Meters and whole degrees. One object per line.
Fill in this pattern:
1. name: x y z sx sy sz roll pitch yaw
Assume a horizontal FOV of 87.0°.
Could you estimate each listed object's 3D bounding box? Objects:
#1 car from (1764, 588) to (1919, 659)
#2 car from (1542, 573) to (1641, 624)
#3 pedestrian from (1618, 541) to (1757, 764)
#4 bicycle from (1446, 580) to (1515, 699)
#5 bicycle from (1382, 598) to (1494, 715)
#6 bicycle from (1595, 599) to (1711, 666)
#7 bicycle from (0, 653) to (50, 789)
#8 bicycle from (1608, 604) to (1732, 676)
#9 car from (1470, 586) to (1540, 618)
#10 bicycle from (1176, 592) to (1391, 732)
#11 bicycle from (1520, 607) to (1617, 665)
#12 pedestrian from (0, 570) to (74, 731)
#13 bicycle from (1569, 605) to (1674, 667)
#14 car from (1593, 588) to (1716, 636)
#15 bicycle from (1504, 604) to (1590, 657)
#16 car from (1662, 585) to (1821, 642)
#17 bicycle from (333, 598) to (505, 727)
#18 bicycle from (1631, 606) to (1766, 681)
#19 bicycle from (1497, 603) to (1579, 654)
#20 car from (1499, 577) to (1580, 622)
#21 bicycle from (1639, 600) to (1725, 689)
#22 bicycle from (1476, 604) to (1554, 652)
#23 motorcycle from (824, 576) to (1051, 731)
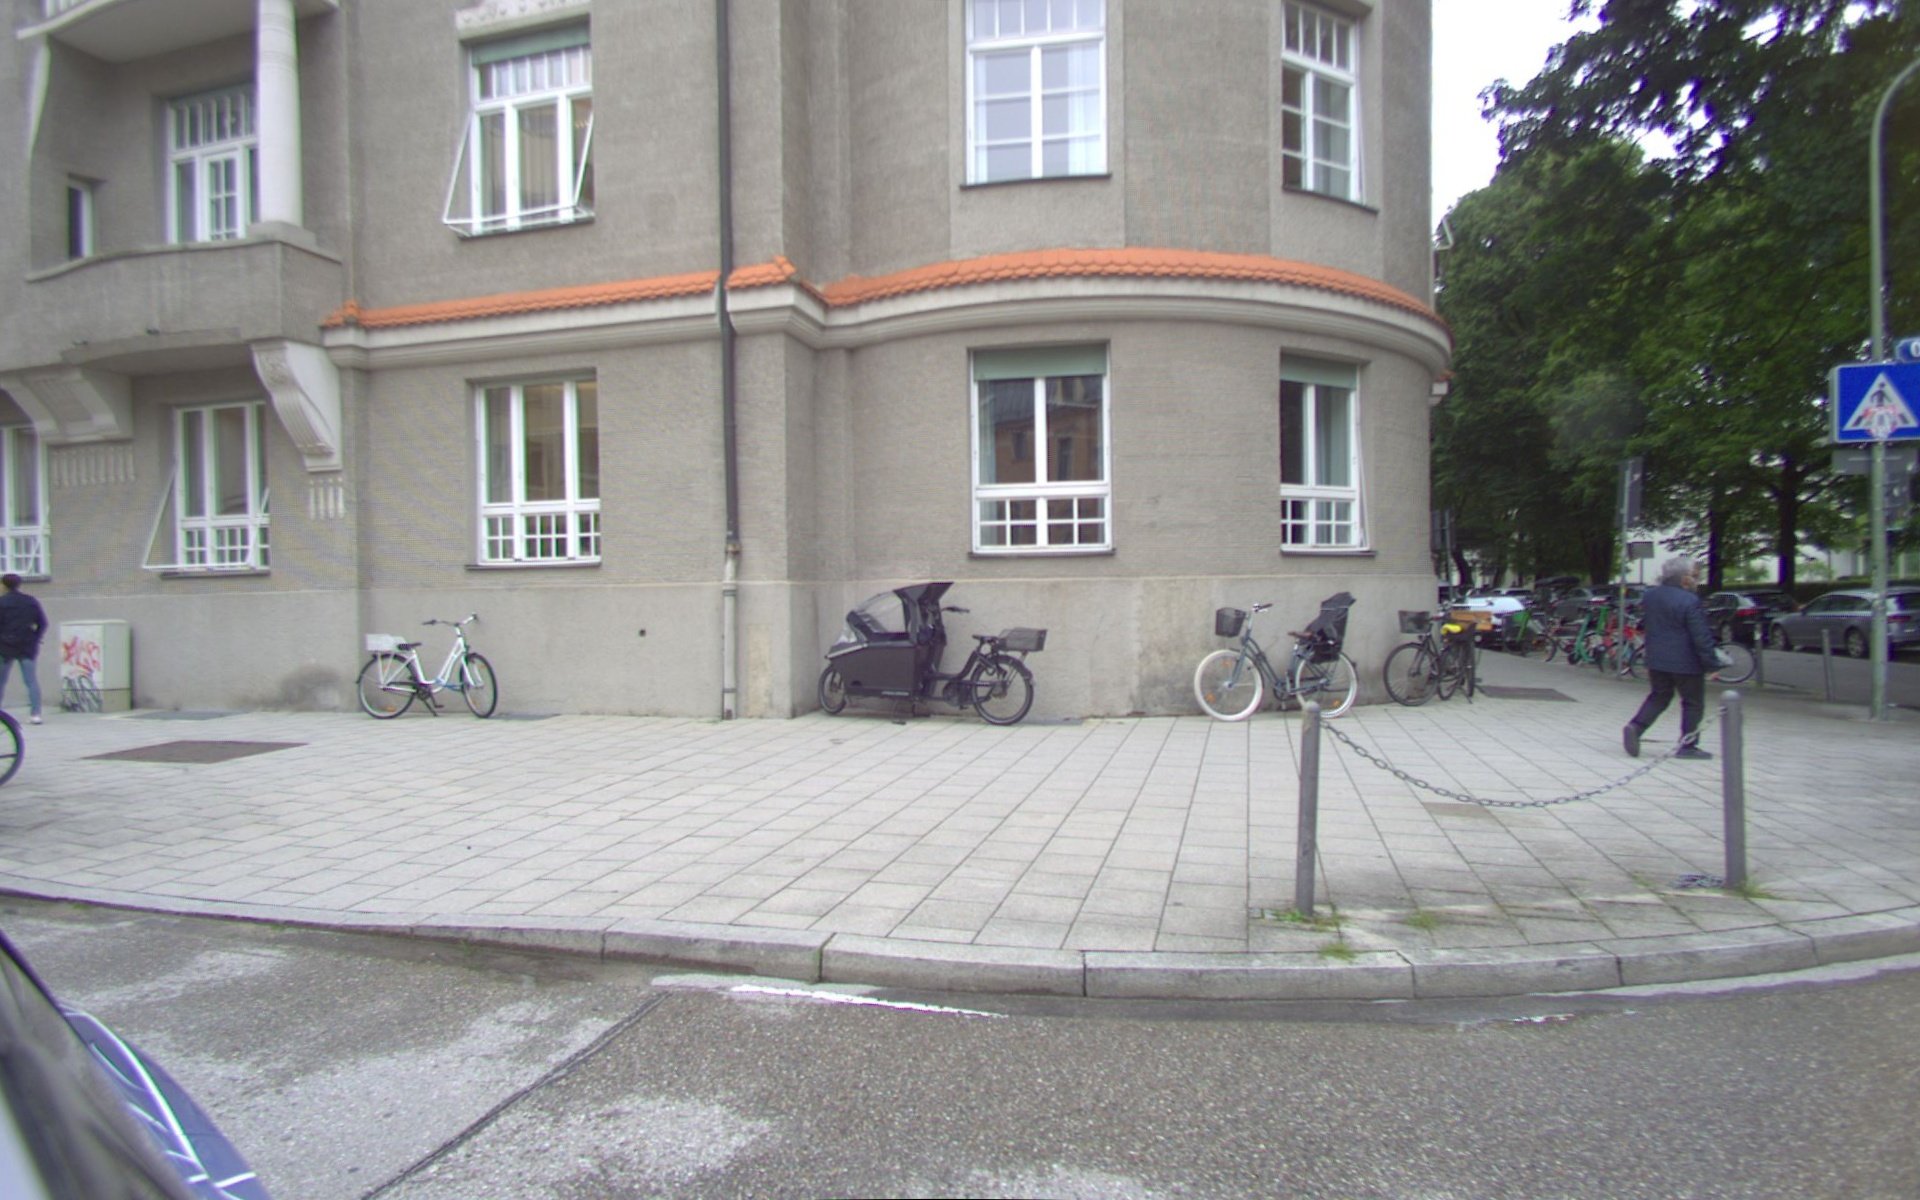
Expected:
1. car: 20.398 0.467 22.770 1.759 1.443 4.499 -1 0 12
2. car: 24.054 -0.063 38.735 1.759 1.832 4.499 -1 0 12
3. pedestrian: 5.723 0.387 8.012 0.722 1.654 0.806 -1 1 24
4. bicycle: 6.779 0.461 13.162 0.735 1.424 1.908 -1 1 28
5. bicycle: 5.500 0.597 11.587 0.565 1.165 1.899 4 4 43
6. bicycle: 12.358 0.566 18.113 1.679 1.156 0.506 -1 1 32
7. bicycle: -7.848 0.974 7.367 0.535 1.022 1.799 -1 2 15
8. bicycle: 11.923 0.652 17.055 1.679 1.156 0.461 -1 1 32
9. car: 26.310 0.108 49.002 1.759 1.443 4.499 -1 0 12
10. bicycle: 3.177 0.573 9.975 1.894 1.265 0.740 -1 1 -14
11. bicycle: 12.476 0.722 20.796 1.679 1.156 0.506 -1 1 32
12. pedestrian: -11.056 0.565 11.718 0.929 1.800 0.836 -1 1 19
13. bicycle: 12.831 0.692 19.682 1.679 1.156 0.506 -1 1 32
14. car: 22.899 0.371 33.567 1.759 1.443 4.499 -1 0 12
15. bicycle: 13.486 0.690 23.268 1.679 1.156 0.506 -1 1 32
16. car: 21.913 0.355 28.611 1.759 1.443 4.499 -1 0 12
17. bicycle: -5.966 0.675 11.189 1.658 1.359 0.618 -1 1 13
18. bicycle: 11.834 0.679 16.285 1.703 1.156 0.506 -1 1 32
19. bicycle: 13.684 0.661 23.976 1.679 1.156 0.506 -1 1 32
20. car: 25.169 -0.005 44.106 1.759 1.849 4.499 -1 0 12
21. bicycle: 10.255 0.602 14.347 1.657 1.156 0.513 -2 1 -37
22. bicycle: 13.737 0.676 25.063 1.679 1.156 0.506 -1 1 32
23. motorcycle: -0.217 0.507 10.077 2.127 1.451 0.735 -1 1 15
